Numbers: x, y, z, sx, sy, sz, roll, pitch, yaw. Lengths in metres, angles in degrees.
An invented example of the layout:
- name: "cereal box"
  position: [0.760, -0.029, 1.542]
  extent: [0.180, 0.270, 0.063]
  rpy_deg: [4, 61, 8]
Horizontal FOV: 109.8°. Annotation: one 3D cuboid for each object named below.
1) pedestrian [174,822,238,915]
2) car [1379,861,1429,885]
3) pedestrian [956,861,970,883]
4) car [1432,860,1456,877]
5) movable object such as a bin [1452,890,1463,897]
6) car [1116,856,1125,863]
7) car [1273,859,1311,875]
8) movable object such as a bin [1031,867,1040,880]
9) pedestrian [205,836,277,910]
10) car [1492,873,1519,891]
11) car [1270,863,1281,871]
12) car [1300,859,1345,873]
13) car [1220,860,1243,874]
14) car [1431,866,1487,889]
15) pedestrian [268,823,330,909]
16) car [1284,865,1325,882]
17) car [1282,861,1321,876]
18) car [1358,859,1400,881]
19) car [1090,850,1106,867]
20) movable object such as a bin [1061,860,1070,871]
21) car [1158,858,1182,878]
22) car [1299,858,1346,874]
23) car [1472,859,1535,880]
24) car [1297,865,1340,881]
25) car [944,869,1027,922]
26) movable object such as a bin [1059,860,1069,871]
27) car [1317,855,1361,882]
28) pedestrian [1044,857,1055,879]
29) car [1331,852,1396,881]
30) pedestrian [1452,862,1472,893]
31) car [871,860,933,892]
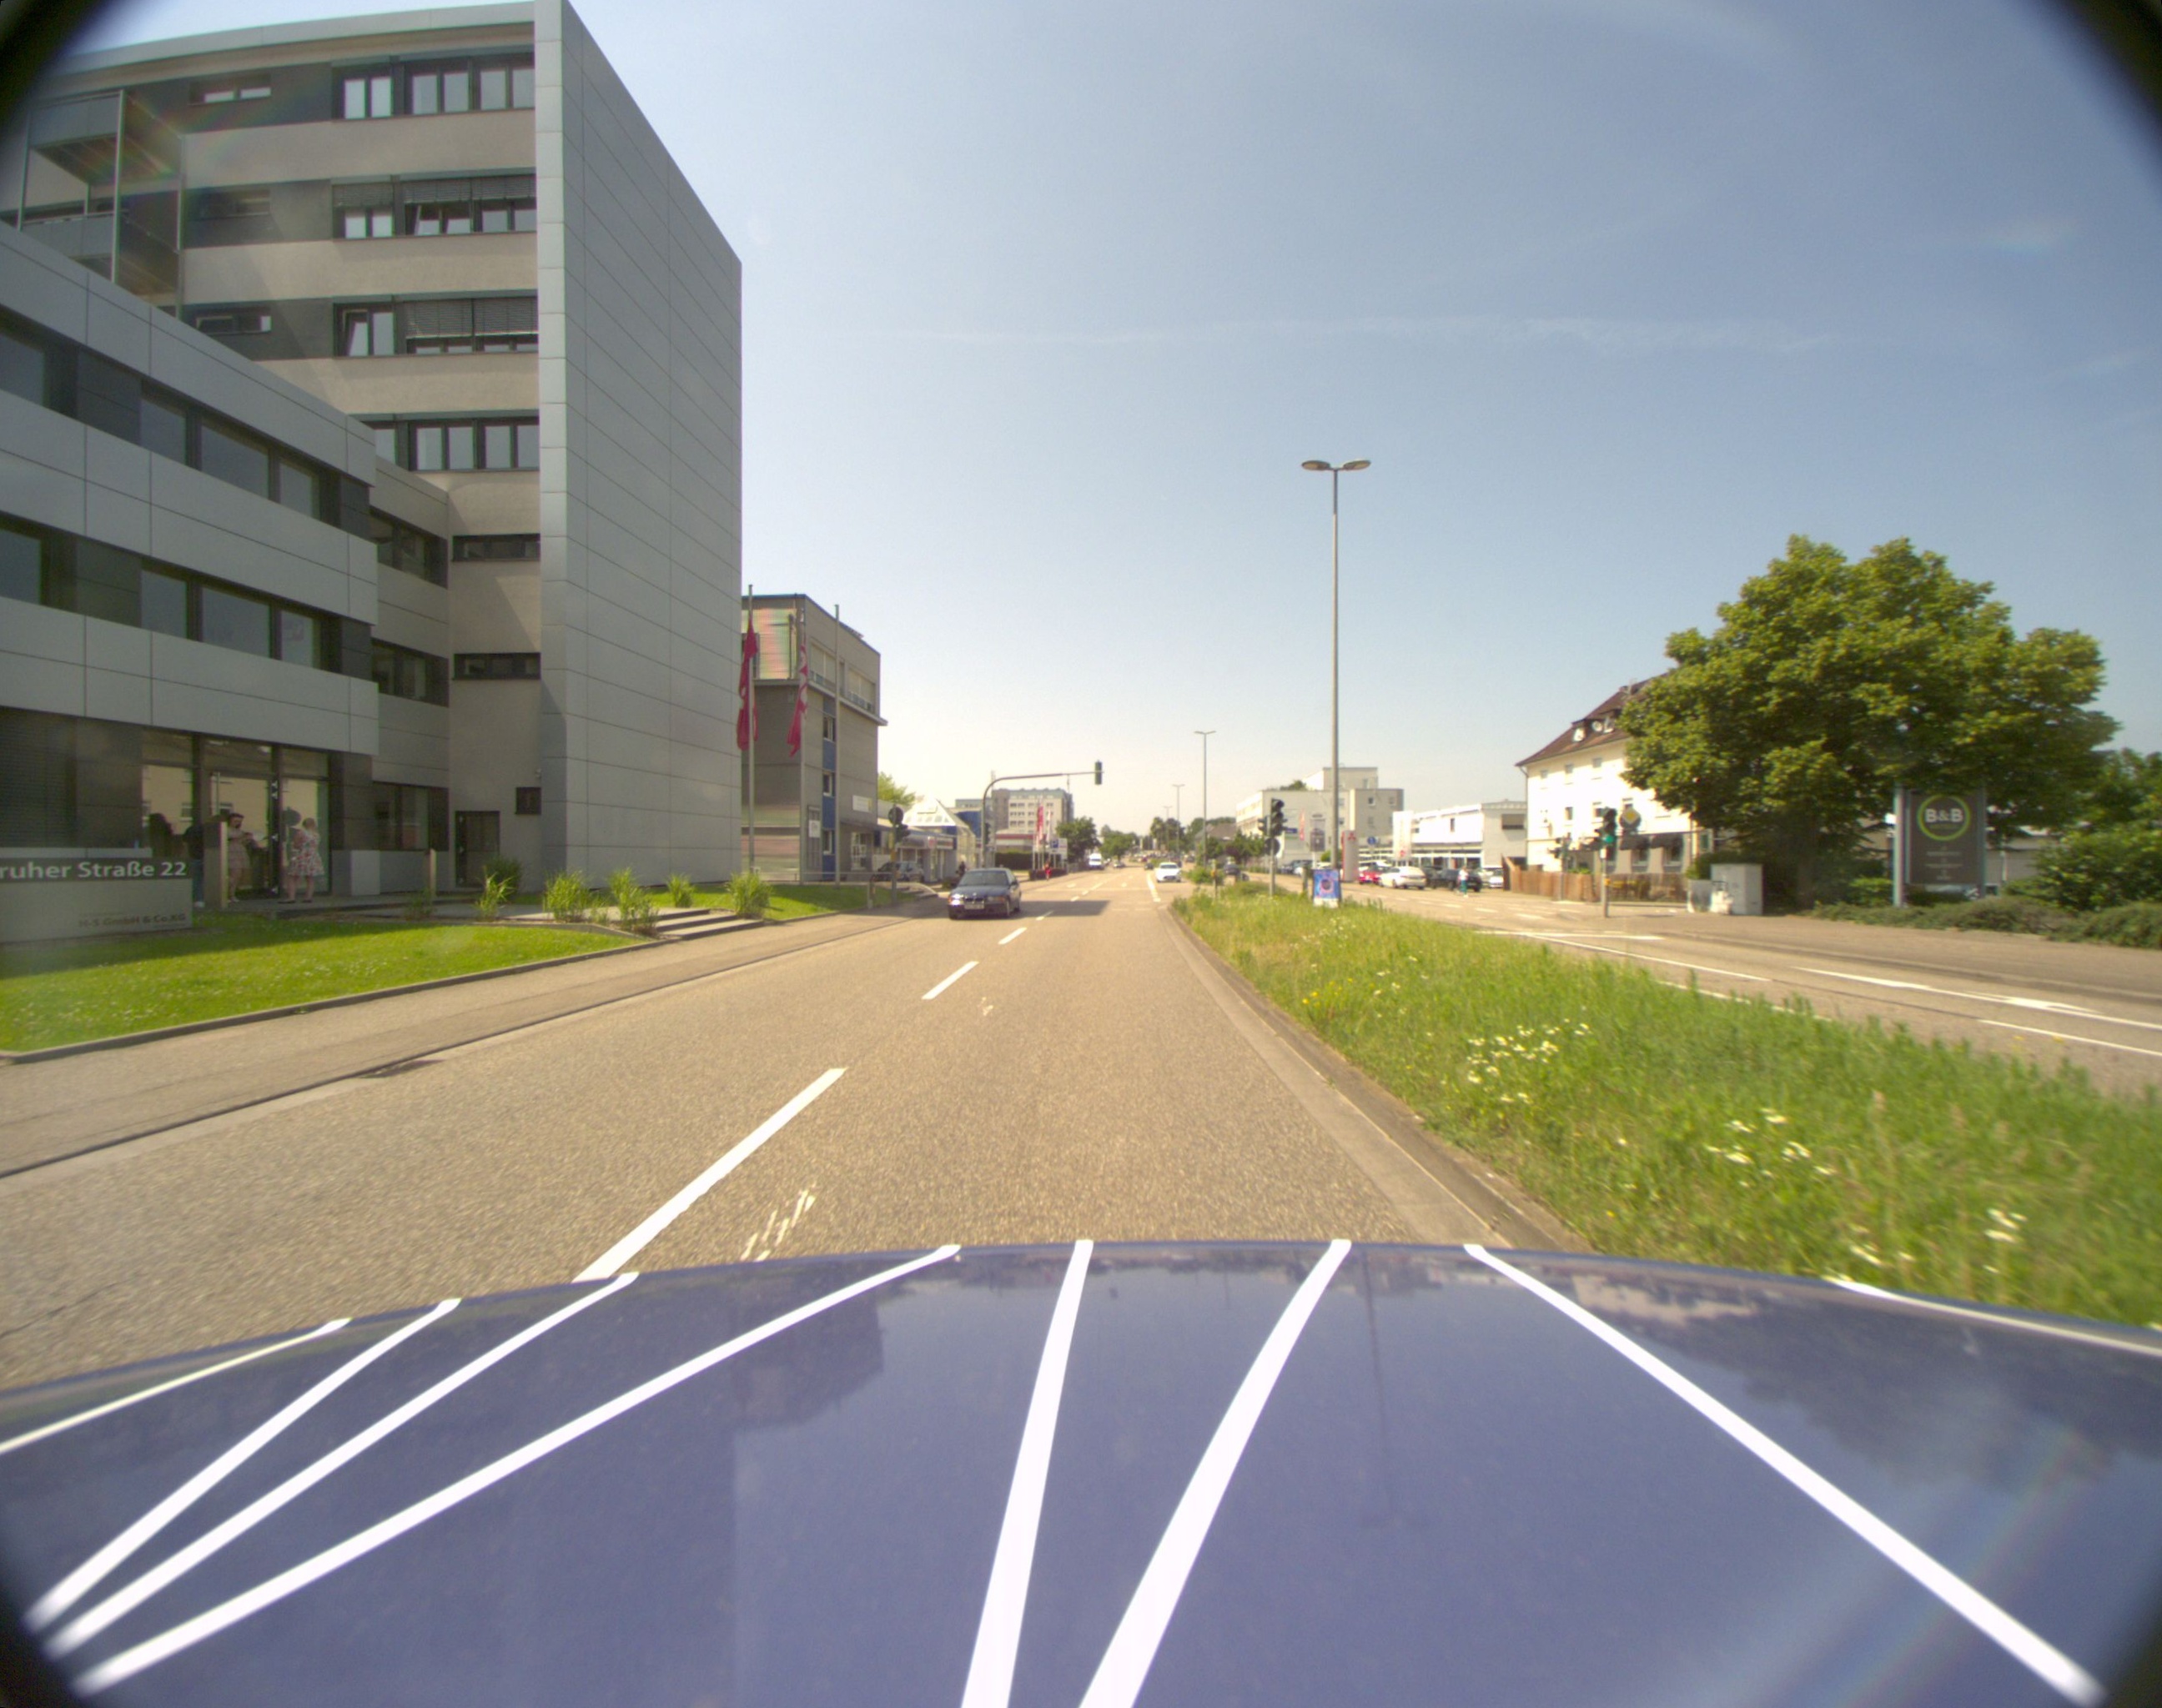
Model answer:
- name: "pedestrian"
  position: [-15.720, 0.254, 13.660]
  extent: [0.594, 1.625, 0.524]
  rpy_deg: [1, 0, 13]
- name: "car"
  position: [21.338, 1.229, 50.386]
  extent: [1.779, 1.402, 4.762]
  rpy_deg: [2, 0, 7]
- name: "pedestrian"
  position: [-8.641, 1.307, 55.815]
  extent: [0.811, 1.617, 0.853]
  rpy_deg: [1, 1, 8]
- name: "car"
  position: [29.016, 1.119, 60.764]
  extent: [1.646, 1.244, 4.007]
  rpy_deg: [1, 0, 26]
- name: "movable object such as a bin"
  position: [21.456, 2.255, 43.337]
  extent: [0.417, 0.370, 0.507]
  rpy_deg: [0, 0, 6]
- name: "car"
  position: [9.000, 1.296, 174.048]
  extent: [1.866, 1.550, 4.001]
  rpy_deg: [1, 0, 4]
- name: "car"
  position: [25.295, 1.534, 91.072]
  extent: [3.996, 1.870, 2.001]
  rpy_deg: [0, 0, 3]
- name: "movable object such as a bin"
  position: [-3.467, 1.449, 57.483]
  extent: [0.552, 0.914, 0.653]
  rpy_deg: [3, 0, 5]
- name: "pedestrian"
  position: [-16.370, 0.372, 14.824]
  extent: [0.523, 1.397, 0.799]
  rpy_deg: [1, 0, -5]
- name: "car"
  position: [32.210, 2.113, 57.629]
  extent: [1.646, 1.244, 4.008]
  rpy_deg: [1, 0, 31]
- name: "car"
  position: [33.251, 2.163, 129.989]
  extent: [1.455, 1.332, 2.834]
  rpy_deg: [0, 0, 7]
- name: "car"
  position: [24.330, 1.205, 76.557]
  extent: [3.996, 1.386, 1.861]
  rpy_deg: [0, 0, 3]
- name: "car"
  position: [16.762, 1.433, 84.987]
  extent: [1.998, 1.477, 4.503]
  rpy_deg: [1, 0, 5]
- name: "car"
  position: [24.318, 1.476, 49.039]
  extent: [1.736, 1.343, 4.001]
  rpy_deg: [1, 0, 2]
- name: "pedestrian"
  position: [-15.408, 0.238, 14.988]
  extent: [0.523, 1.653, 0.756]
  rpy_deg: [1, 0, -13]
- name: "car"
  position: [25.033, 2.183, 85.252]
  extent: [3.996, 1.599, 1.760]
  rpy_deg: [4, 0, 3]
- name: "car"
  position: [25.559, 1.626, 88.118]
  extent: [3.996, 1.599, 2.090]
  rpy_deg: [1, 0, 3]
- name: "car"
  position: [23.124, 1.194, 58.894]
  extent: [1.834, 1.632, 4.188]
  rpy_deg: [0, 0, 39]
- name: "car"
  position: [2.914, 0.775, 129.922]
  extent: [2.182, 2.757, 7.280]
  rpy_deg: [2, 0, 4]
- name: "movable object such as a bin"
  position: [-2.076, 1.568, 102.475]
  extent: [1.133, 1.461, 1.490]
  rpy_deg: [1, 0, 5]
- name: "car"
  position: [6.597, 1.013, 56.575]
  extent: [1.692, 1.425, 3.713]
  rpy_deg: [0, 0, 5]
- name: "car"
  position: [23.555, 1.172, 74.182]
  extent: [3.996, 1.458, 1.760]
  rpy_deg: [0, 0, 3]
- name: "car"
  position: [33.906, 1.228, 61.075]
  extent: [3.995, 1.605, 1.866]
  rpy_deg: [1, 0, 4]
- name: "car"
  position: [24.794, 1.958, 79.522]
  extent: [3.994, 1.599, 1.926]
  rpy_deg: [0, 0, 7]
- name: "car"
  position: [-2.667, 1.136, 21.954]
  extent: [1.631, 1.331, 3.758]
  rpy_deg: [-1, -1, 4]
- name: "movable object such as a bin"
  position: [-2.233, 1.560, 100.876]
  extent: [1.133, 1.461, 1.490]
  rpy_deg: [1, 0, 5]
- name: "car"
  position: [24.234, 1.327, 71.374]
  extent: [4.002, 1.616, 1.755]
  rpy_deg: [-16, 10, -34]
- name: "pedestrian"
  position: [-2.593, 1.139, 62.381]
  extent: [0.787, 1.836, 0.937]
  rpy_deg: [1, 0, 7]
- name: "car"
  position: [23.437, 1.015, 63.101]
  extent: [4.557, 1.699, 1.760]
  rpy_deg: [-9, -1, 3]
- name: "pedestrian"
  position: [21.513, 1.317, 42.918]
  extent: [0.742, 1.737, 1.034]
  rpy_deg: [1, 0, 7]
- name: "car"
  position: [-9.195, 1.098, 39.321]
  extent: [1.848, 1.522, 4.198]
  rpy_deg: [-1, 0, 5]
